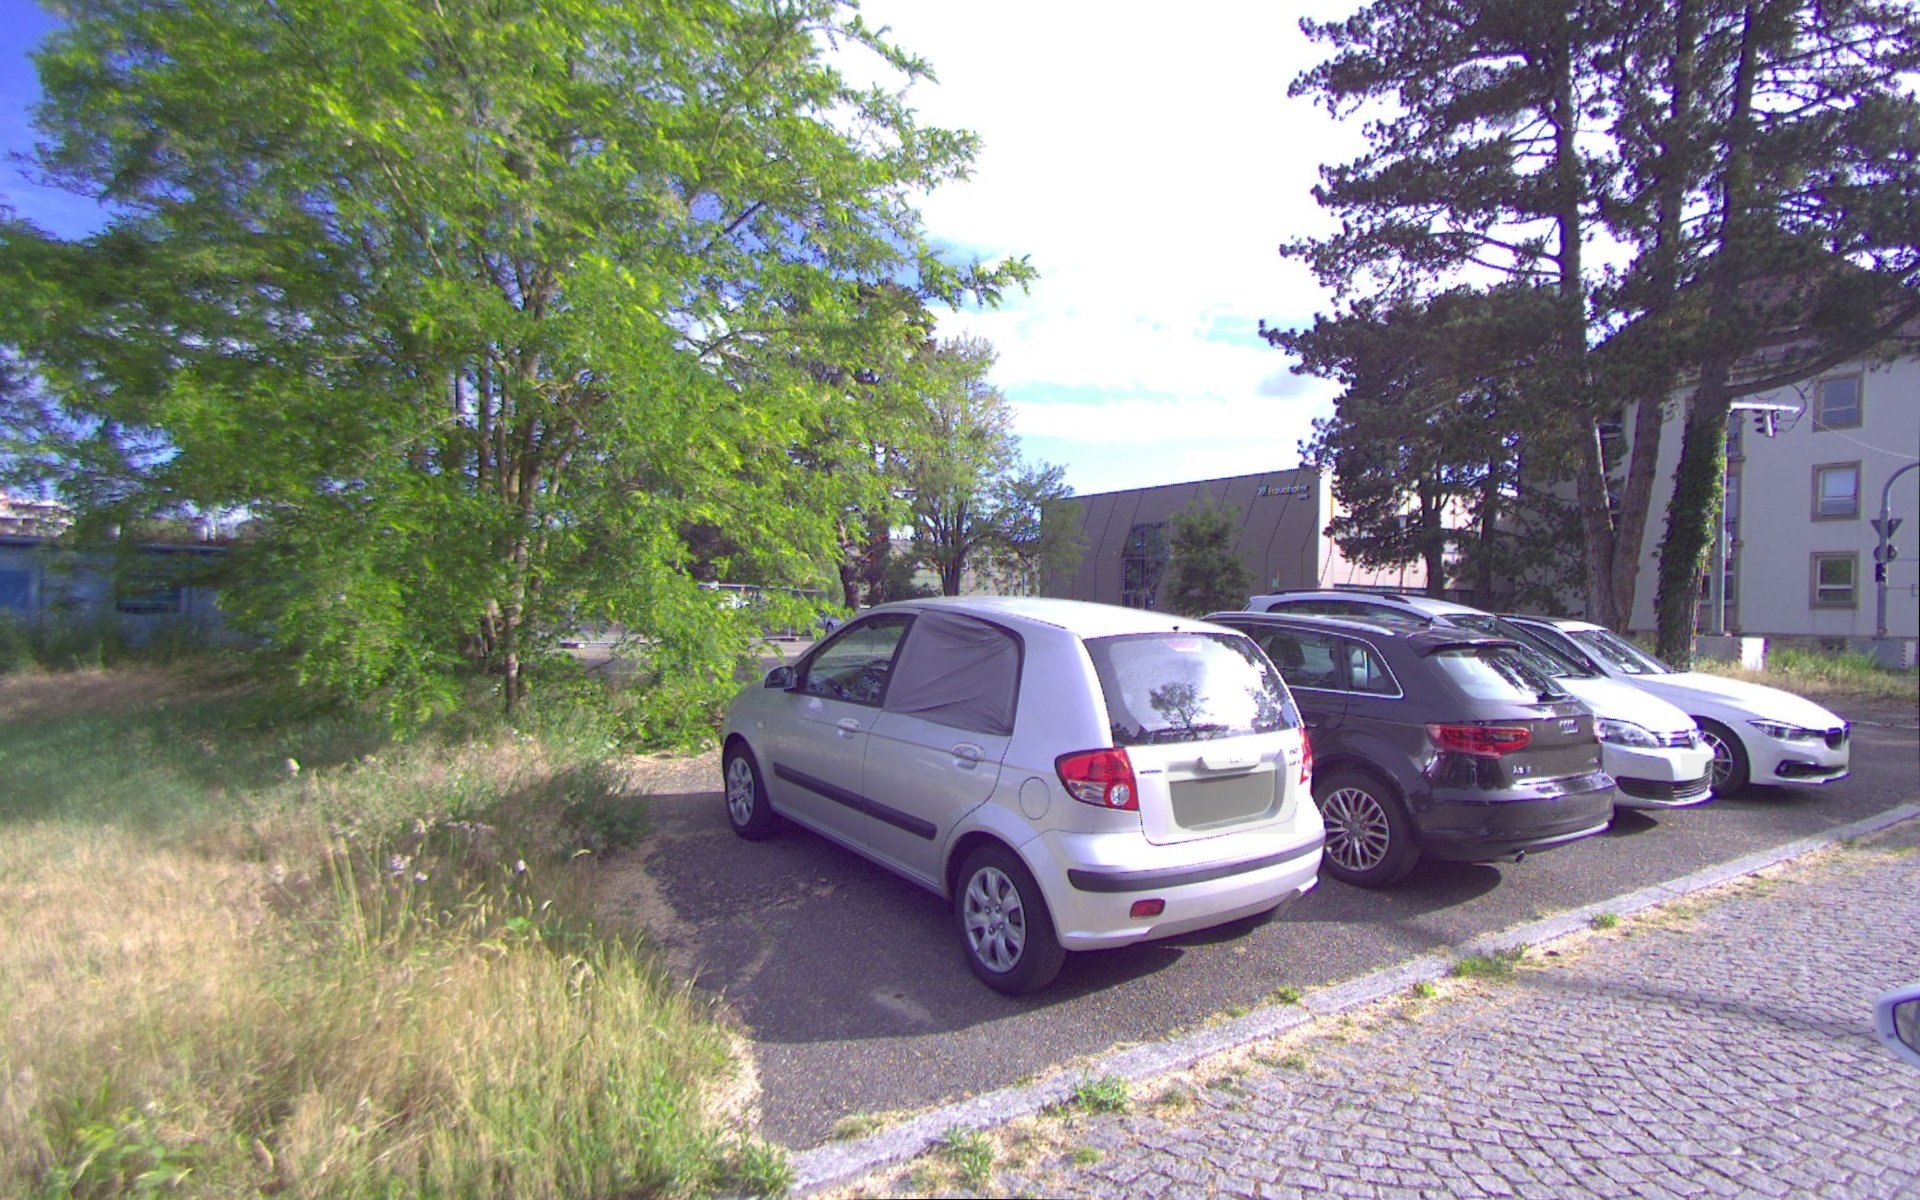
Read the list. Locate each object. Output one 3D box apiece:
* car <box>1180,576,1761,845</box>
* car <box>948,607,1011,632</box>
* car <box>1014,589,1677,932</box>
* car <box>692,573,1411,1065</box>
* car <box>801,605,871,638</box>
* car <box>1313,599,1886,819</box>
[{"bbox_3d":[4.175,0.718,8.819,1.842,1.621,4.089,2,2,-38],"label":"car"},{"bbox_3d":[1.368,1.343,69.289,4.118,1.580,1.790,2,0,-37],"label":"car"},{"bbox_3d":[2.275,0.770,6.849,1.840,1.449,3.804,2,2,-34],"label":"car"},{"bbox_3d":[0.131,0.709,5.327,1.831,1.493,3.658,2,2,-35],"label":"car"},{"bbox_3d":[-5.829,0.987,46.853,1.647,1.400,3.964,2,0,-32],"label":"car"},{"bbox_3d":[6.195,0.857,10.323,1.885,1.475,4.555,0,4,-36],"label":"car"}]
